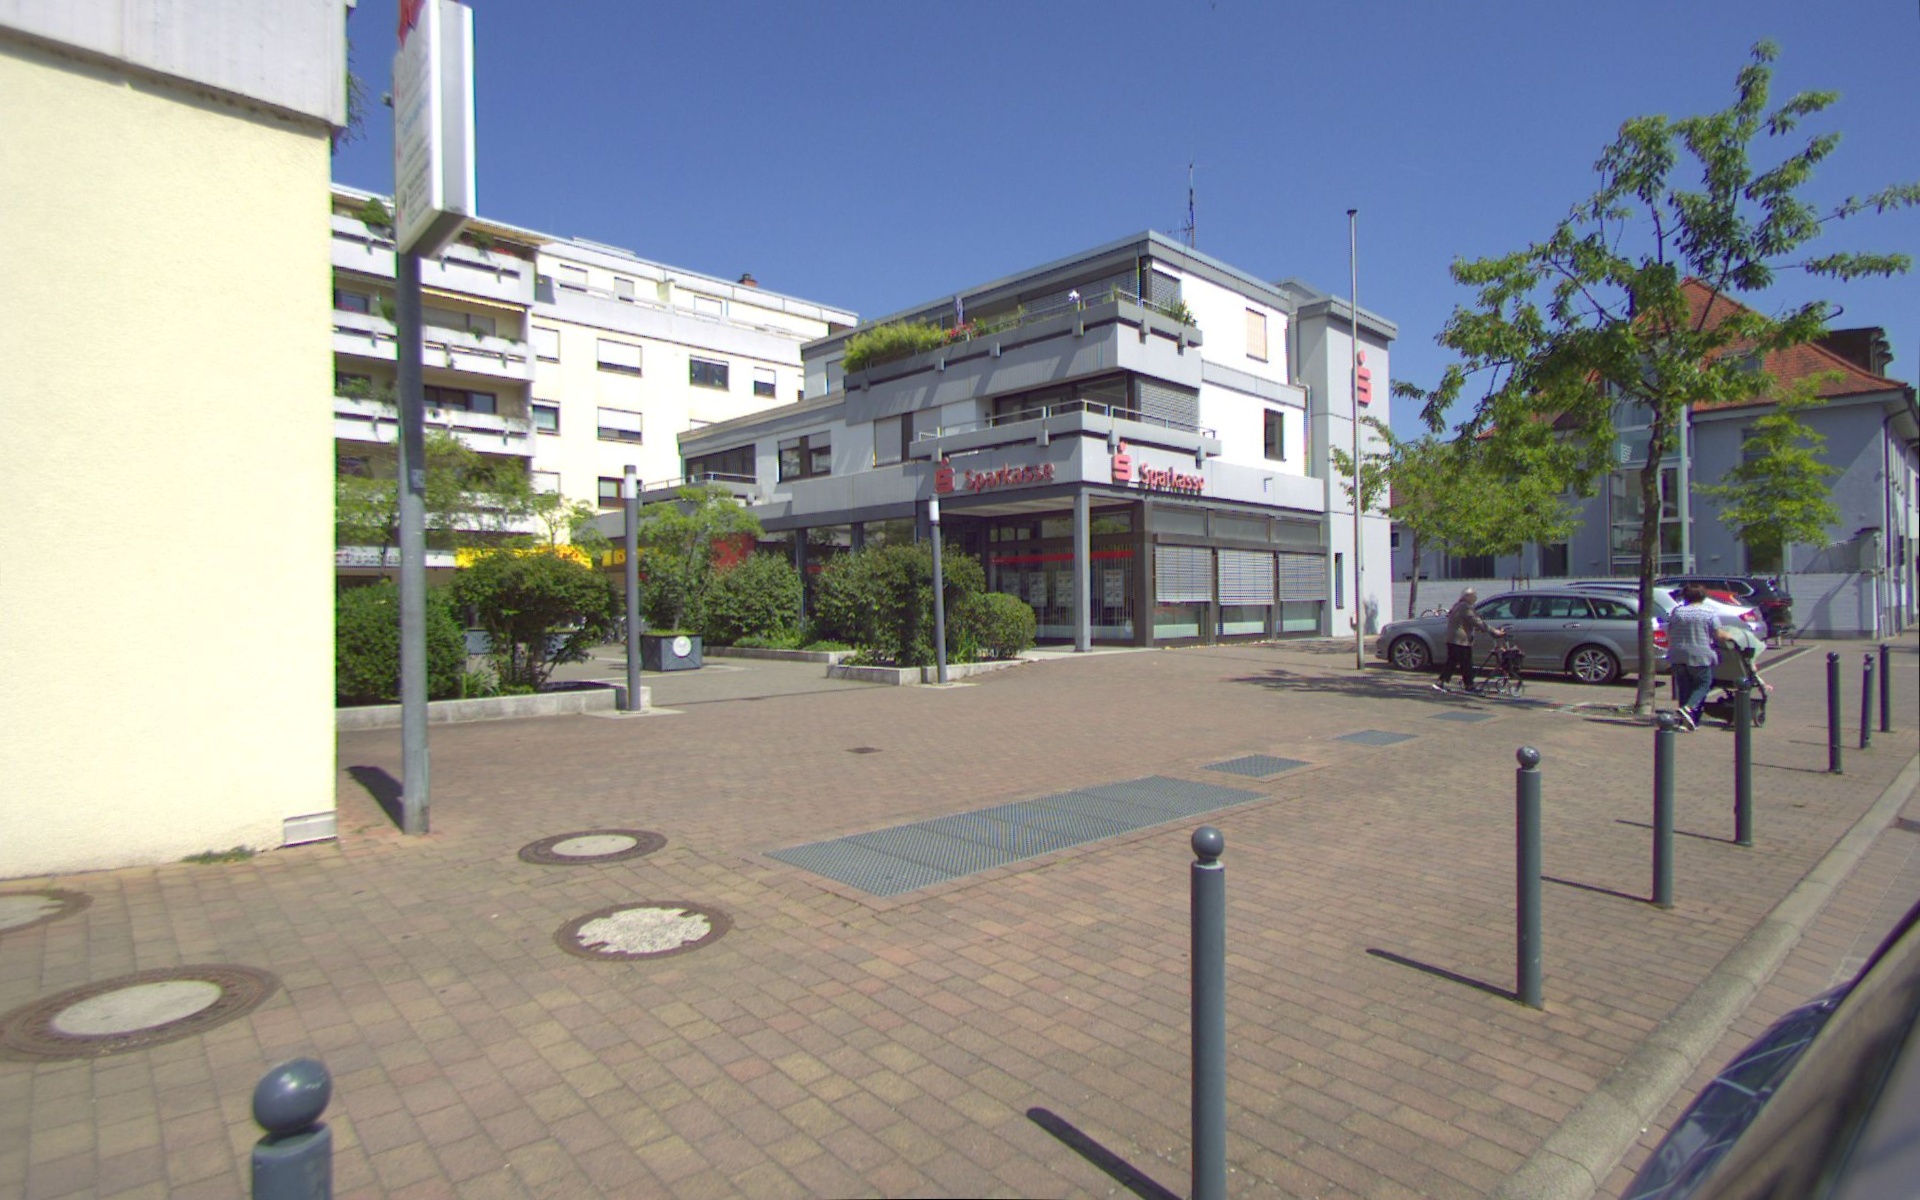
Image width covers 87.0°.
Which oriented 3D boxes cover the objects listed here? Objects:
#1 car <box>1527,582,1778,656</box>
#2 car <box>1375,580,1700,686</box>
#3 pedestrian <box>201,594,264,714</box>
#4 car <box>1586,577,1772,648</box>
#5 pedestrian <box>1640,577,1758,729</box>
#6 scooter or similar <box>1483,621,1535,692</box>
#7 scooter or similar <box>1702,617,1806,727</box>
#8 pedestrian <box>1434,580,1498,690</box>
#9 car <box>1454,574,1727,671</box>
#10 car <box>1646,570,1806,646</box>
[{"bbox_3d":[15.218,0.348,22.385,4.429,1.460,1.632,1,1,42],"label":"car"},{"bbox_3d":[9.446,0.438,16.812,4.432,1.484,1.664,2,2,44],"label":"car"},{"bbox_3d":[-9.409,0.672,13.086,0.594,1.482,0.794,0,0,-40],"label":"pedestrian"},{"bbox_3d":[17.044,0.264,24.082,3.421,1.571,1.467,0,0,45],"label":"car"},{"bbox_3d":[7.778,0.535,10.657,1.026,1.535,0.514,0,0,-21],"label":"pedestrian"},{"bbox_3d":[7.674,0.777,14.159,0.540,0.958,0.533,0,0,19],"label":"scooter or similar"},{"bbox_3d":[8.620,0.761,10.990,0.890,1.132,0.507,0,1,-21],"label":"scooter or similar"},{"bbox_3d":[7.154,0.483,14.334,0.714,1.520,0.529,0,0,17],"label":"pedestrian"},{"bbox_3d":[11.545,0.329,18.694,4.033,1.579,1.686,1,1,43],"label":"car"},{"bbox_3d":[18.951,0.149,25.093,3.032,1.759,1.324,1,1,44],"label":"car"}]
